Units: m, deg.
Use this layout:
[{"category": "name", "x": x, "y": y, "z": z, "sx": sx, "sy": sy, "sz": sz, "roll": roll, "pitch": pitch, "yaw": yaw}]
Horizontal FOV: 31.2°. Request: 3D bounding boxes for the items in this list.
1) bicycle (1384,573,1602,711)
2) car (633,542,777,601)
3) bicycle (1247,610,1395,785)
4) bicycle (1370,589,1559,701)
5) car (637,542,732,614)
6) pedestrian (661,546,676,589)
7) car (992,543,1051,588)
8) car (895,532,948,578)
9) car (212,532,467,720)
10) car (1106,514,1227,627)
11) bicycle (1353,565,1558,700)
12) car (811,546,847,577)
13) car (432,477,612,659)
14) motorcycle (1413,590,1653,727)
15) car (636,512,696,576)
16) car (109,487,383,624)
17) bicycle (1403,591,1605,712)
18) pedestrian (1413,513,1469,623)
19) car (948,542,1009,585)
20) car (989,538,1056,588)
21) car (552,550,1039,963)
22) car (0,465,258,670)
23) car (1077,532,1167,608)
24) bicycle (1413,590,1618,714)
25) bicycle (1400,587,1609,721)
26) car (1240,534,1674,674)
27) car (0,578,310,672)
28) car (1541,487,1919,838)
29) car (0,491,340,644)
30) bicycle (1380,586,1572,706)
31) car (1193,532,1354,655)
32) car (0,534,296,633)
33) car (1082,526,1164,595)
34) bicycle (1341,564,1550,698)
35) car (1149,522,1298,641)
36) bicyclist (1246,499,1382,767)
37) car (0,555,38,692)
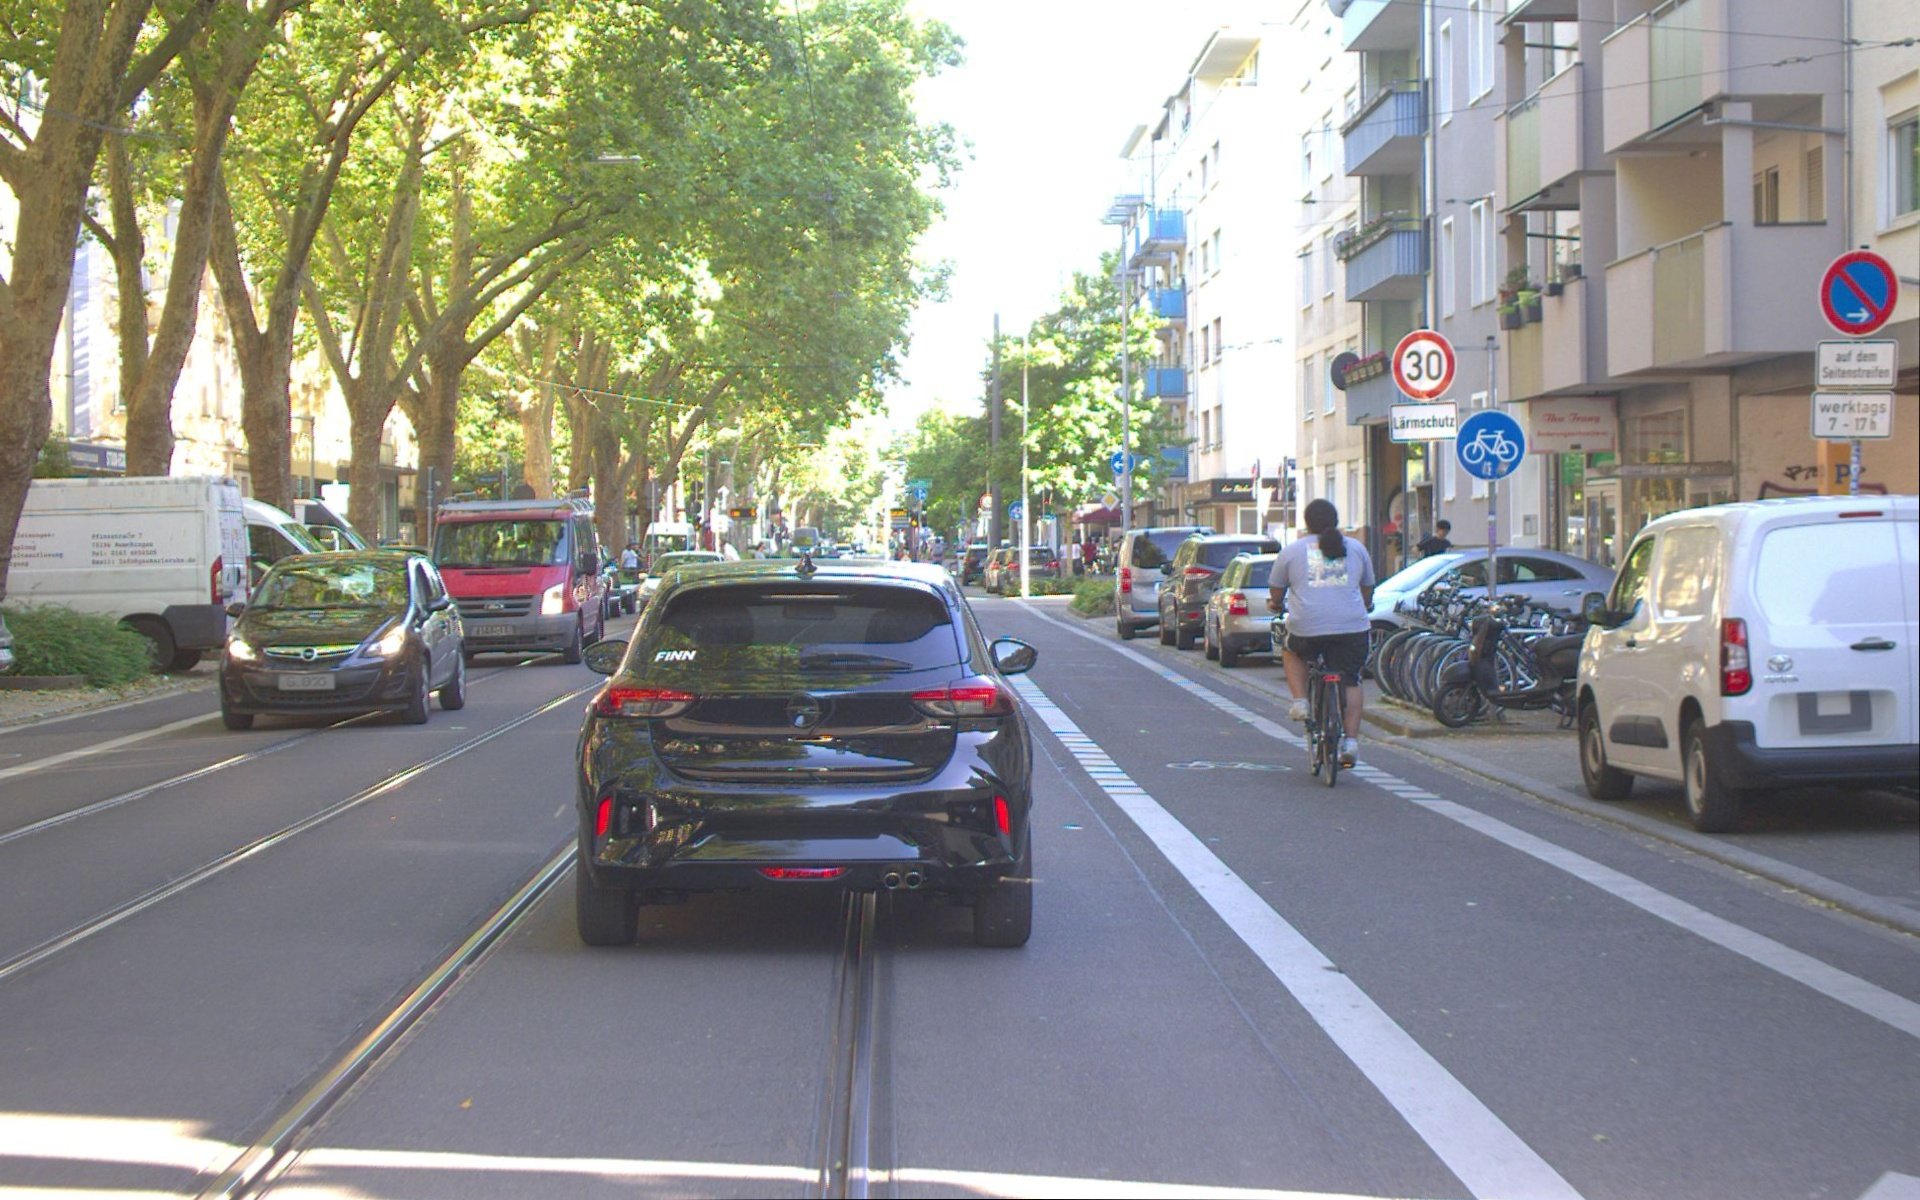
[{"category": "bicycle", "x": 4.768, "y": 0.373, "z": 30.838, "sx": 1.793, "sy": 1.144, "sz": 0.704, "roll": -2, "pitch": 1, "yaw": -1}, {"category": "car", "x": -7.306, "y": -0.819, "z": 98.746, "sx": 3.987, "sy": 1.646, "sz": 1.865, "roll": -1, "pitch": 1, "yaw": -1}, {"category": "bicycle", "x": 2.394, "y": 0.628, "z": 22.999, "sx": 0.701, "sy": 1.088, "sz": 1.990, "roll": 1, "pitch": 0, "yaw": -2}, {"category": "bicycle", "x": 4.691, "y": 0.413, "z": 32.023, "sx": 1.652, "sy": 0.963, "sz": 0.457, "roll": -2, "pitch": 1, "yaw": -1}, {"category": "car", "x": -5.361, "y": -0.456, "z": 67.319, "sx": 1.718, "sy": 1.354, "sz": 4.470, "roll": -1, "pitch": 1, "yaw": -3}, {"category": "pedestrian", "x": -10.689, "y": -1.196, "z": 126.033, "sx": 0.506, "sy": 1.577, "sz": 0.527, "roll": -1, "pitch": 1, "yaw": -1}, {"category": "car", "x": 2.051, "y": -1.169, "z": 115.572, "sx": 1.718, "sy": 1.485, "sz": 3.682, "roll": -1, "pitch": 1, "yaw": -3}, {"category": "car", "x": -1.406, "y": -1.680, "z": 127.775, "sx": 1.858, "sy": 1.646, "sz": 4.000, "roll": -1, "pitch": 1, "yaw": 1}, {"category": "car", "x": -5.309, "y": 0.181, "z": 29.795, "sx": 1.718, "sy": 1.504, "sz": 3.723, "roll": -1, "pitch": 1, "yaw": -3}, {"category": "car", "x": 3.589, "y": -0.543, "z": 60.502, "sx": 1.858, "sy": 1.883, "sz": 4.924, "roll": -1, "pitch": 1, "yaw": 1}, {"category": "bicycle", "x": 4.676, "y": 0.299, "z": 32.502, "sx": 1.823, "sy": 1.187, "sz": 0.457, "roll": -2, "pitch": 1, "yaw": -1}, {"category": "car", "x": -7.063, "y": -2.097, "z": 186.074, "sx": 1.750, "sy": 1.646, "sz": 4.000, "roll": -1, "pitch": 1, "yaw": 1}, {"category": "car", "x": -5.630, "y": -0.434, "z": 44.690, "sx": 1.917, "sy": 2.219, "sz": 4.961, "roll": -1, "pitch": 1, "yaw": -3}, {"category": "motorcycle", "x": 4.675, "y": 0.481, "z": 28.063, "sx": 1.820, "sy": 1.076, "sz": 0.617, "roll": -1, "pitch": 1, "yaw": 23}, {"category": "car", "x": -12.251, "y": -2.352, "z": 143.456, "sx": 2.092, "sy": 2.575, "sz": 5.997, "roll": -1, "pitch": 1, "yaw": -1}, {"category": "car", "x": -13.783, "y": -0.863, "z": 66.590, "sx": 4.943, "sy": 2.559, "sz": 2.083, "roll": -1, "pitch": 1, "yaw": -4}, {"category": "bicycle", "x": 4.760, "y": 0.447, "z": 30.126, "sx": 1.652, "sy": 0.983, "sz": 0.457, "roll": -2, "pitch": 1, "yaw": -1}, {"category": "pedestrian", "x": 7.592, "y": -0.513, "z": 54.281, "sx": 0.756, "sy": 1.714, "sz": 0.720, "roll": -1, "pitch": 1, "yaw": -2}, {"category": "car", "x": 0.694, "y": -1.443, "z": 134.285, "sx": 1.993, "sy": 1.634, "sz": 4.001, "roll": -1, "pitch": 1, "yaw": -5}, {"category": "car", "x": 1.977, "y": -1.196, "z": 110.021, "sx": 1.718, "sy": 1.568, "sz": 4.085, "roll": -1, "pitch": 1, "yaw": -5}, {"category": "car", "x": -0.624, "y": 0.529, "z": 13.865, "sx": 1.679, "sy": 1.418, "sz": 3.628, "roll": 1, "pitch": 1, "yaw": -2}, {"category": "car", "x": -11.941, "y": -0.427, "z": 43.372, "sx": 5.740, "sy": 2.527, "sz": 2.163, "roll": 0, "pitch": 1, "yaw": -1}, {"category": "car", "x": 3.624, "y": -0.699, "z": 77.368, "sx": 1.858, "sy": 1.646, "sz": 4.000, "roll": -1, "pitch": 1, "yaw": 1}, {"category": "bicycle", "x": 4.774, "y": 0.444, "z": 29.580, "sx": 1.652, "sy": 0.983, "sz": 0.457, "roll": -2, "pitch": 1, "yaw": -1}, {"category": "bicycle", "x": 4.589, "y": 0.452, "z": 29.013, "sx": 1.652, "sy": 1.051, "sz": 0.457, "roll": -2, "pitch": 1, "yaw": -1}, {"category": "car", "x": 5.770, "y": 0.023, "z": 40.078, "sx": 4.612, "sy": 1.432, "sz": 1.865, "roll": -2, "pitch": 1, "yaw": -12}, {"category": "car", "x": -12.359, "y": 0.376, "z": 52.742, "sx": 4.409, "sy": 1.380, "sz": 1.934, "roll": 0, "pitch": 1, "yaw": -1}, {"category": "car", "x": 4.757, "y": 0.277, "z": 20.069, "sx": 1.858, "sy": 1.814, "sz": 4.351, "roll": -1, "pitch": 1, "yaw": -2}, {"category": "car", "x": -13.298, "y": -0.555, "z": 57.811, "sx": 5.360, "sy": 2.469, "sz": 2.057, "roll": -1, "pitch": 1, "yaw": -1}, {"category": "bicycle", "x": 4.728, "y": 0.417, "z": 31.532, "sx": 1.652, "sy": 1.017, "sz": 0.457, "roll": -2, "pitch": 1, "yaw": -1}, {"category": "car", "x": 4.059, "y": -0.125, "z": 45.104, "sx": 1.724, "sy": 1.520, "sz": 4.513, "roll": -1, "pitch": 1, "yaw": 1}, {"category": "car", "x": -12.990, "y": -0.276, "z": 55.022, "sx": 4.370, "sy": 1.533, "sz": 1.872, "roll": 0, "pitch": 1, "yaw": -1}, {"category": "car", "x": 4.007, "y": -0.988, "z": 85.130, "sx": 1.858, "sy": 1.646, "sz": 4.000, "roll": -1, "pitch": 1, "yaw": 1}, {"category": "bicycle", "x": 4.651, "y": 0.293, "z": 32.984, "sx": 1.892, "sy": 1.187, "sz": 0.457, "roll": -2, "pitch": 1, "yaw": -1}, {"category": "car", "x": 3.922, "y": -0.306, "z": 51.748, "sx": 1.766, "sy": 1.699, "sz": 4.283, "roll": -1, "pitch": 1, "yaw": -2}, {"category": "bicyclist", "x": 2.358, "y": 0.211, "z": 22.981, "sx": 0.786, "sy": 1.753, "sz": 0.915, "roll": 0, "pitch": 1, "yaw": -1}, {"category": "car", "x": -11.919, "y": 0.247, "z": 36.446, "sx": 3.808, "sy": 1.427, "sz": 1.704, "roll": 0, "pitch": 1, "yaw": 1}]
